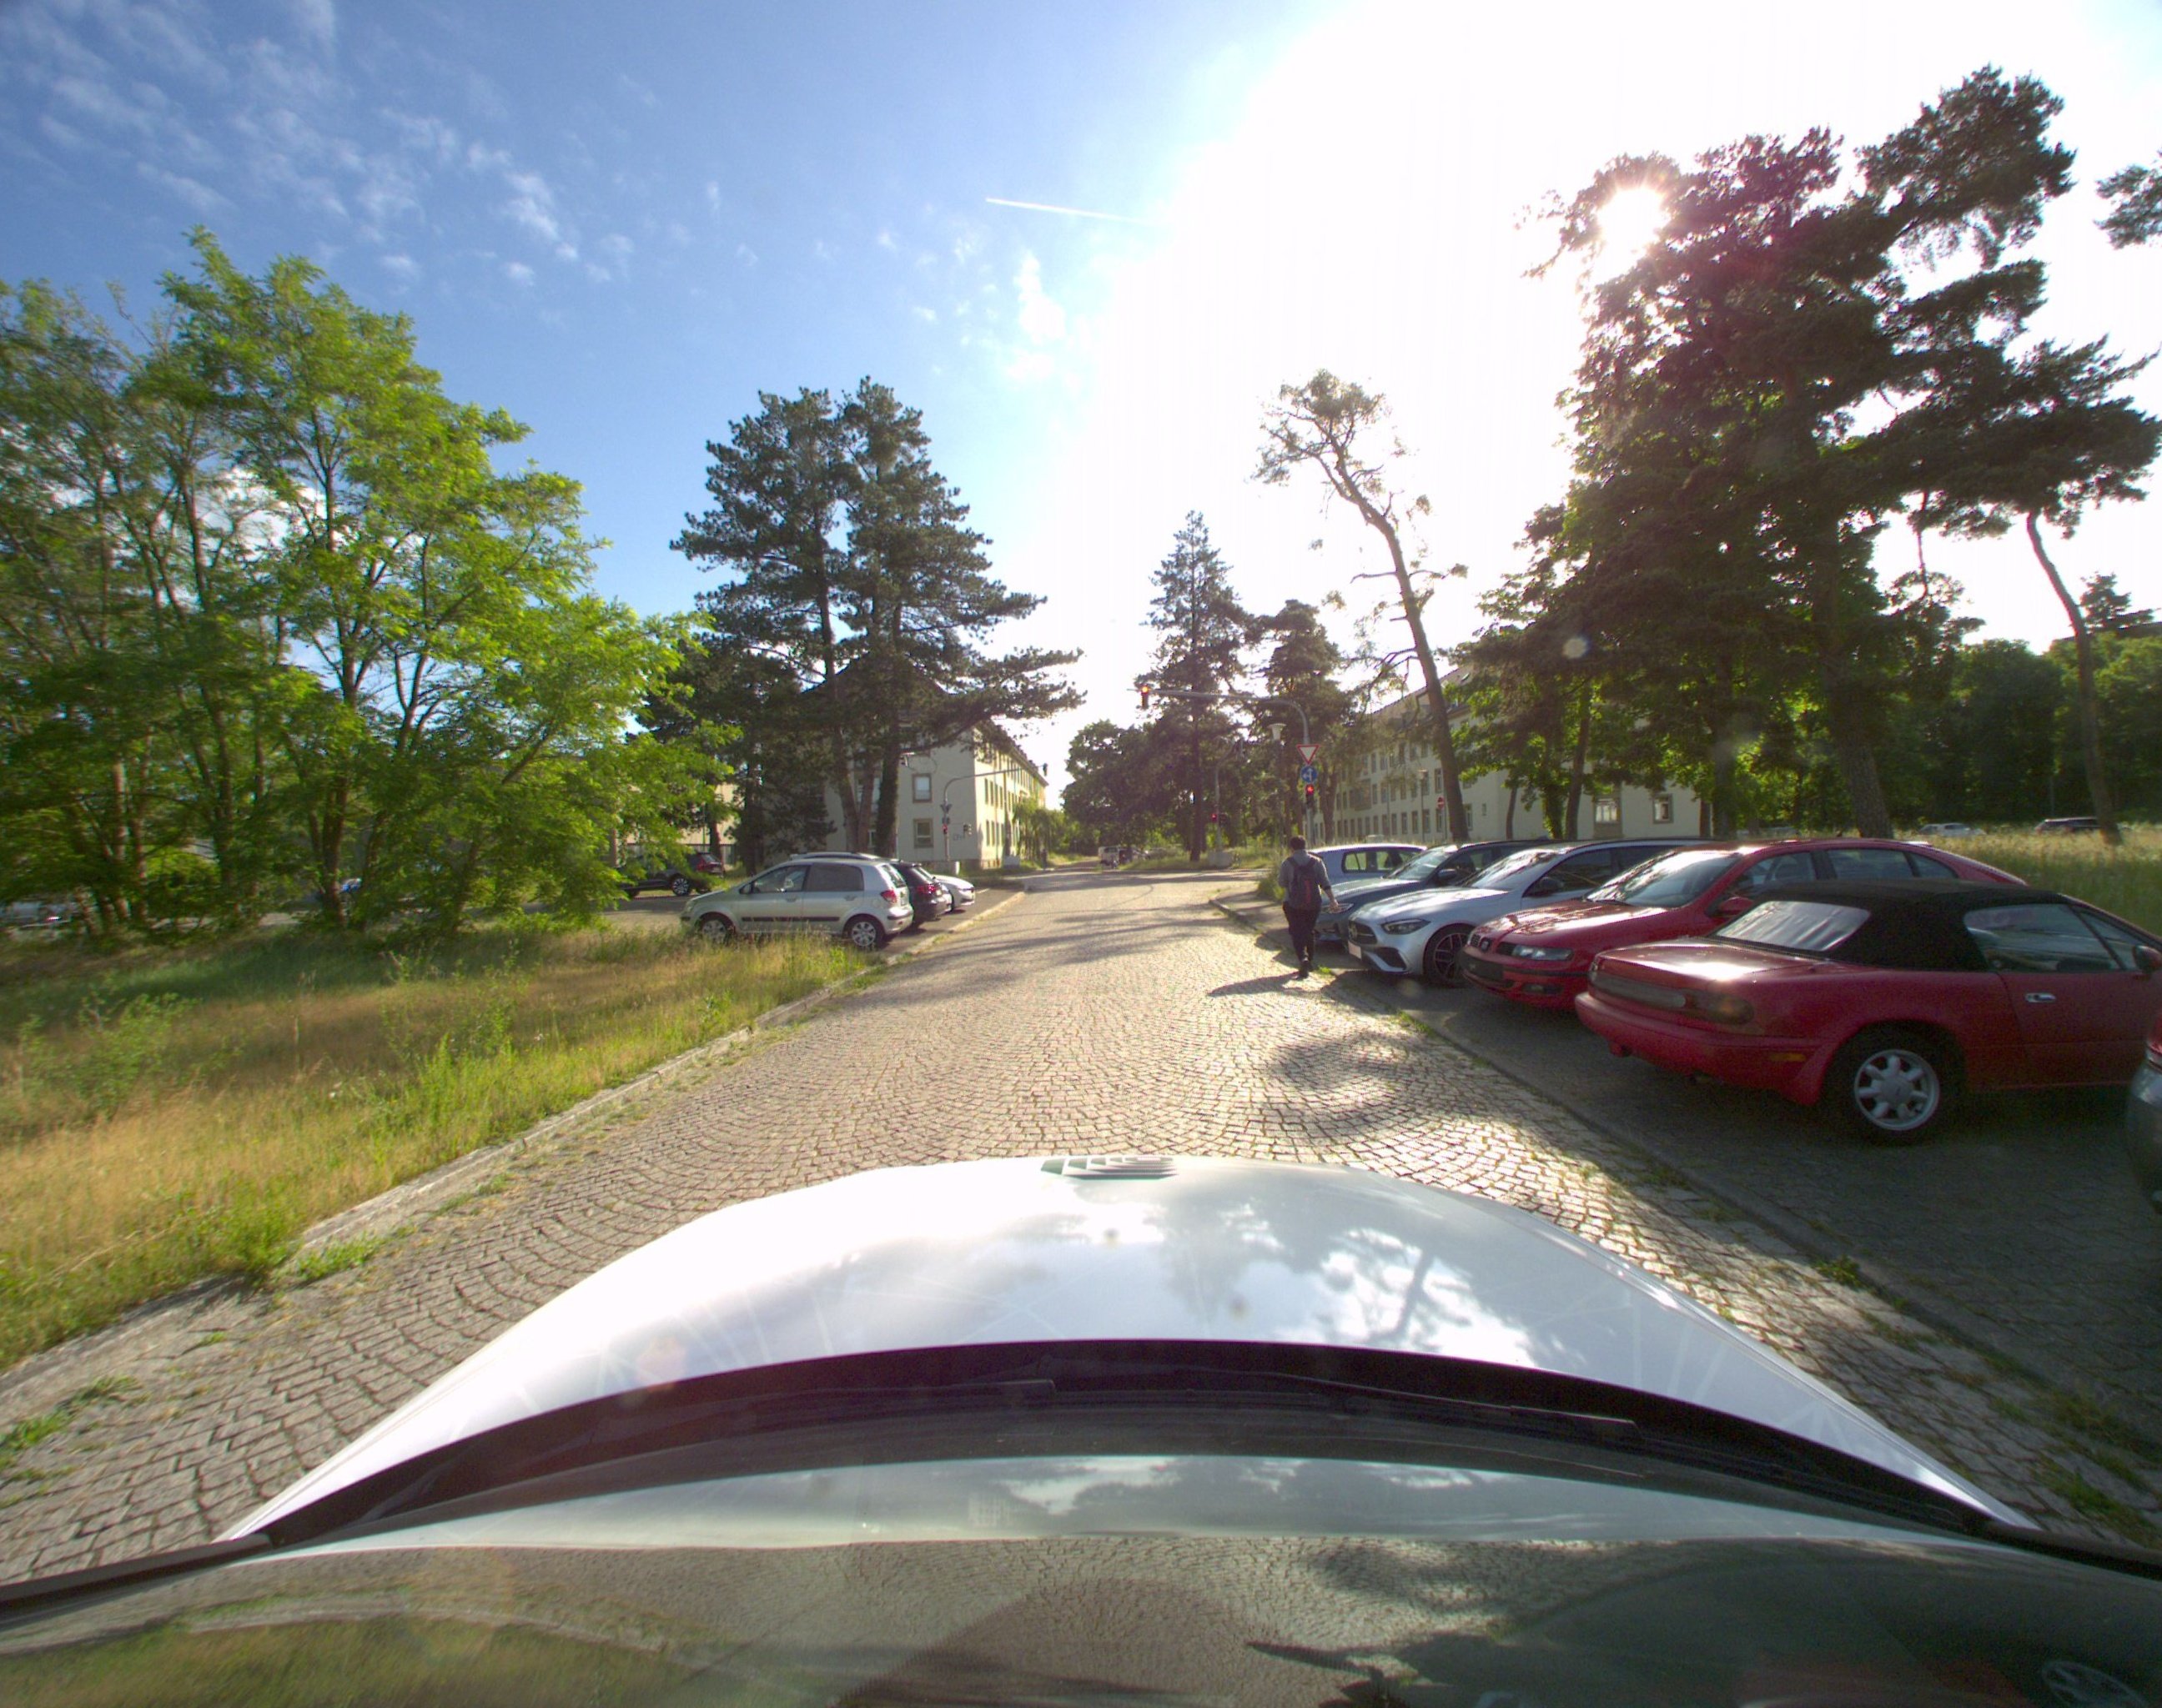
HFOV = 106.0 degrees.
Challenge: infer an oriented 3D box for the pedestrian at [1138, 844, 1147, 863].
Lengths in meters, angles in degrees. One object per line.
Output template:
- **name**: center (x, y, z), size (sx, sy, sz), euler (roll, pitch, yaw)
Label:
- **pedestrian**: center (6.034, -0.042, 79.860), size (0.758, 1.783, 0.683), euler (-2, 0, -6)

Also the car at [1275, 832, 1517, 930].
- **car**: center (5.533, 0.456, 14.638), size (3.659, 1.443, 1.666), euler (-4, 0, 2)

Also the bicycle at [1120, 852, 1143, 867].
- **bicycle**: center (3.961, 0.434, 64.212), size (1.722, 1.112, 0.484), euler (-2, 0, -2)

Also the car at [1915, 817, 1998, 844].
- **car**: center (59.678, -1.561, 55.560), size (3.619, 1.671, 1.769), euler (-2, 0, 4)

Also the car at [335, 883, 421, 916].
- **car**: center (-45.540, 2.918, 52.852), size (1.856, 1.778, 4.008), euler (-2, 0, 5)

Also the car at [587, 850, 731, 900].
- **car**: center (-15.285, 0.729, 29.663), size (4.127, 1.608, 2.011), euler (-2, 0, 2)

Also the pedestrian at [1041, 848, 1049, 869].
- **pedestrian**: center (-3.068, 0.354, 69.274), size (0.604, 1.752, 0.630), euler (-2, 0, 1)

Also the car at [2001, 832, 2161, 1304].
- **car**: center (5.145, 0.569, 2.055), size (3.649, 1.455, 1.667), euler (-4, 0, 1)

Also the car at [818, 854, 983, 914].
- **car**: center (-4.834, 0.766, 22.102), size (3.966, 1.496, 1.776), euler (0, 0, 6)

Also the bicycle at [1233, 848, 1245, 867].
- **bicycle**: center (10.011, 0.205, 51.597), size (0.717, 1.115, 2.592), euler (-2, 0, 12)

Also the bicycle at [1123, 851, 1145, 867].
- **bicycle**: center (4.221, 0.386, 64.887), size (1.722, 1.164, 0.561), euler (-2, 0, -2)

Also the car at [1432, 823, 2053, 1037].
- **car**: center (5.387, 0.579, 7.037), size (3.965, 1.448, 1.656), euler (-3, 0, 1)

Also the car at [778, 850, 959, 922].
- **car**: center (-5.001, 0.727, 19.513), size (3.866, 1.615, 1.661), euler (0, 0, 0)

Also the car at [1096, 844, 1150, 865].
- **car**: center (4.202, 0.031, 81.565), size (5.063, 1.918, 1.995), euler (-2, 0, -8)

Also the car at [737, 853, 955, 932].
- **car**: center (-4.714, 0.757, 16.733), size (3.924, 1.445, 1.691), euler (1, 0, 0)

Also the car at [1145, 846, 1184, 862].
- **car**: center (8.720, 0.015, 85.420), size (3.738, 1.580, 1.738), euler (-2, 0, -6)

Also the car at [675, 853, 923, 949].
- **car**: center (-4.736, 0.759, 14.071), size (3.674, 1.527, 1.699), euler (0, 0, -1)

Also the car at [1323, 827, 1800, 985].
- **car**: center (5.261, 0.537, 9.367), size (4.384, 1.388, 1.789), euler (-3, 0, 0)

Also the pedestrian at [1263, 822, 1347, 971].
- **pedestrian**: center (2.751, 0.499, 10.072), size (0.750, 1.725, 0.829), euler (3, 0, 1)

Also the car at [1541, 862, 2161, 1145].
- **car**: center (4.802, 0.734, 4.662), size (3.447, 1.242, 1.537), euler (-2, 0, 2)

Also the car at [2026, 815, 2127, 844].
- **car**: center (58.658, -1.422, 48.052), size (3.619, 1.497, 1.769), euler (-2, 0, 4)

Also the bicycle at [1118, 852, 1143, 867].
- **bicycle**: center (3.873, 0.438, 63.670), size (1.829, 1.112, 0.495), euler (-2, 0, -2)

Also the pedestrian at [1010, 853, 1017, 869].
- **pedestrian**: center (-6.415, 0.673, 77.884), size (0.606, 1.559, 0.544), euler (-2, 0, -5)

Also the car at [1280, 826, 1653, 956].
- **car**: center (5.527, 0.498, 12.103), size (4.605, 1.455, 1.869), euler (-4, 0, -1)

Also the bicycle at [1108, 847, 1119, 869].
- **bicycle**: center (2.421, 0.252, 60.147), size (0.750, 1.580, 2.538), euler (-2, 0, 2)
